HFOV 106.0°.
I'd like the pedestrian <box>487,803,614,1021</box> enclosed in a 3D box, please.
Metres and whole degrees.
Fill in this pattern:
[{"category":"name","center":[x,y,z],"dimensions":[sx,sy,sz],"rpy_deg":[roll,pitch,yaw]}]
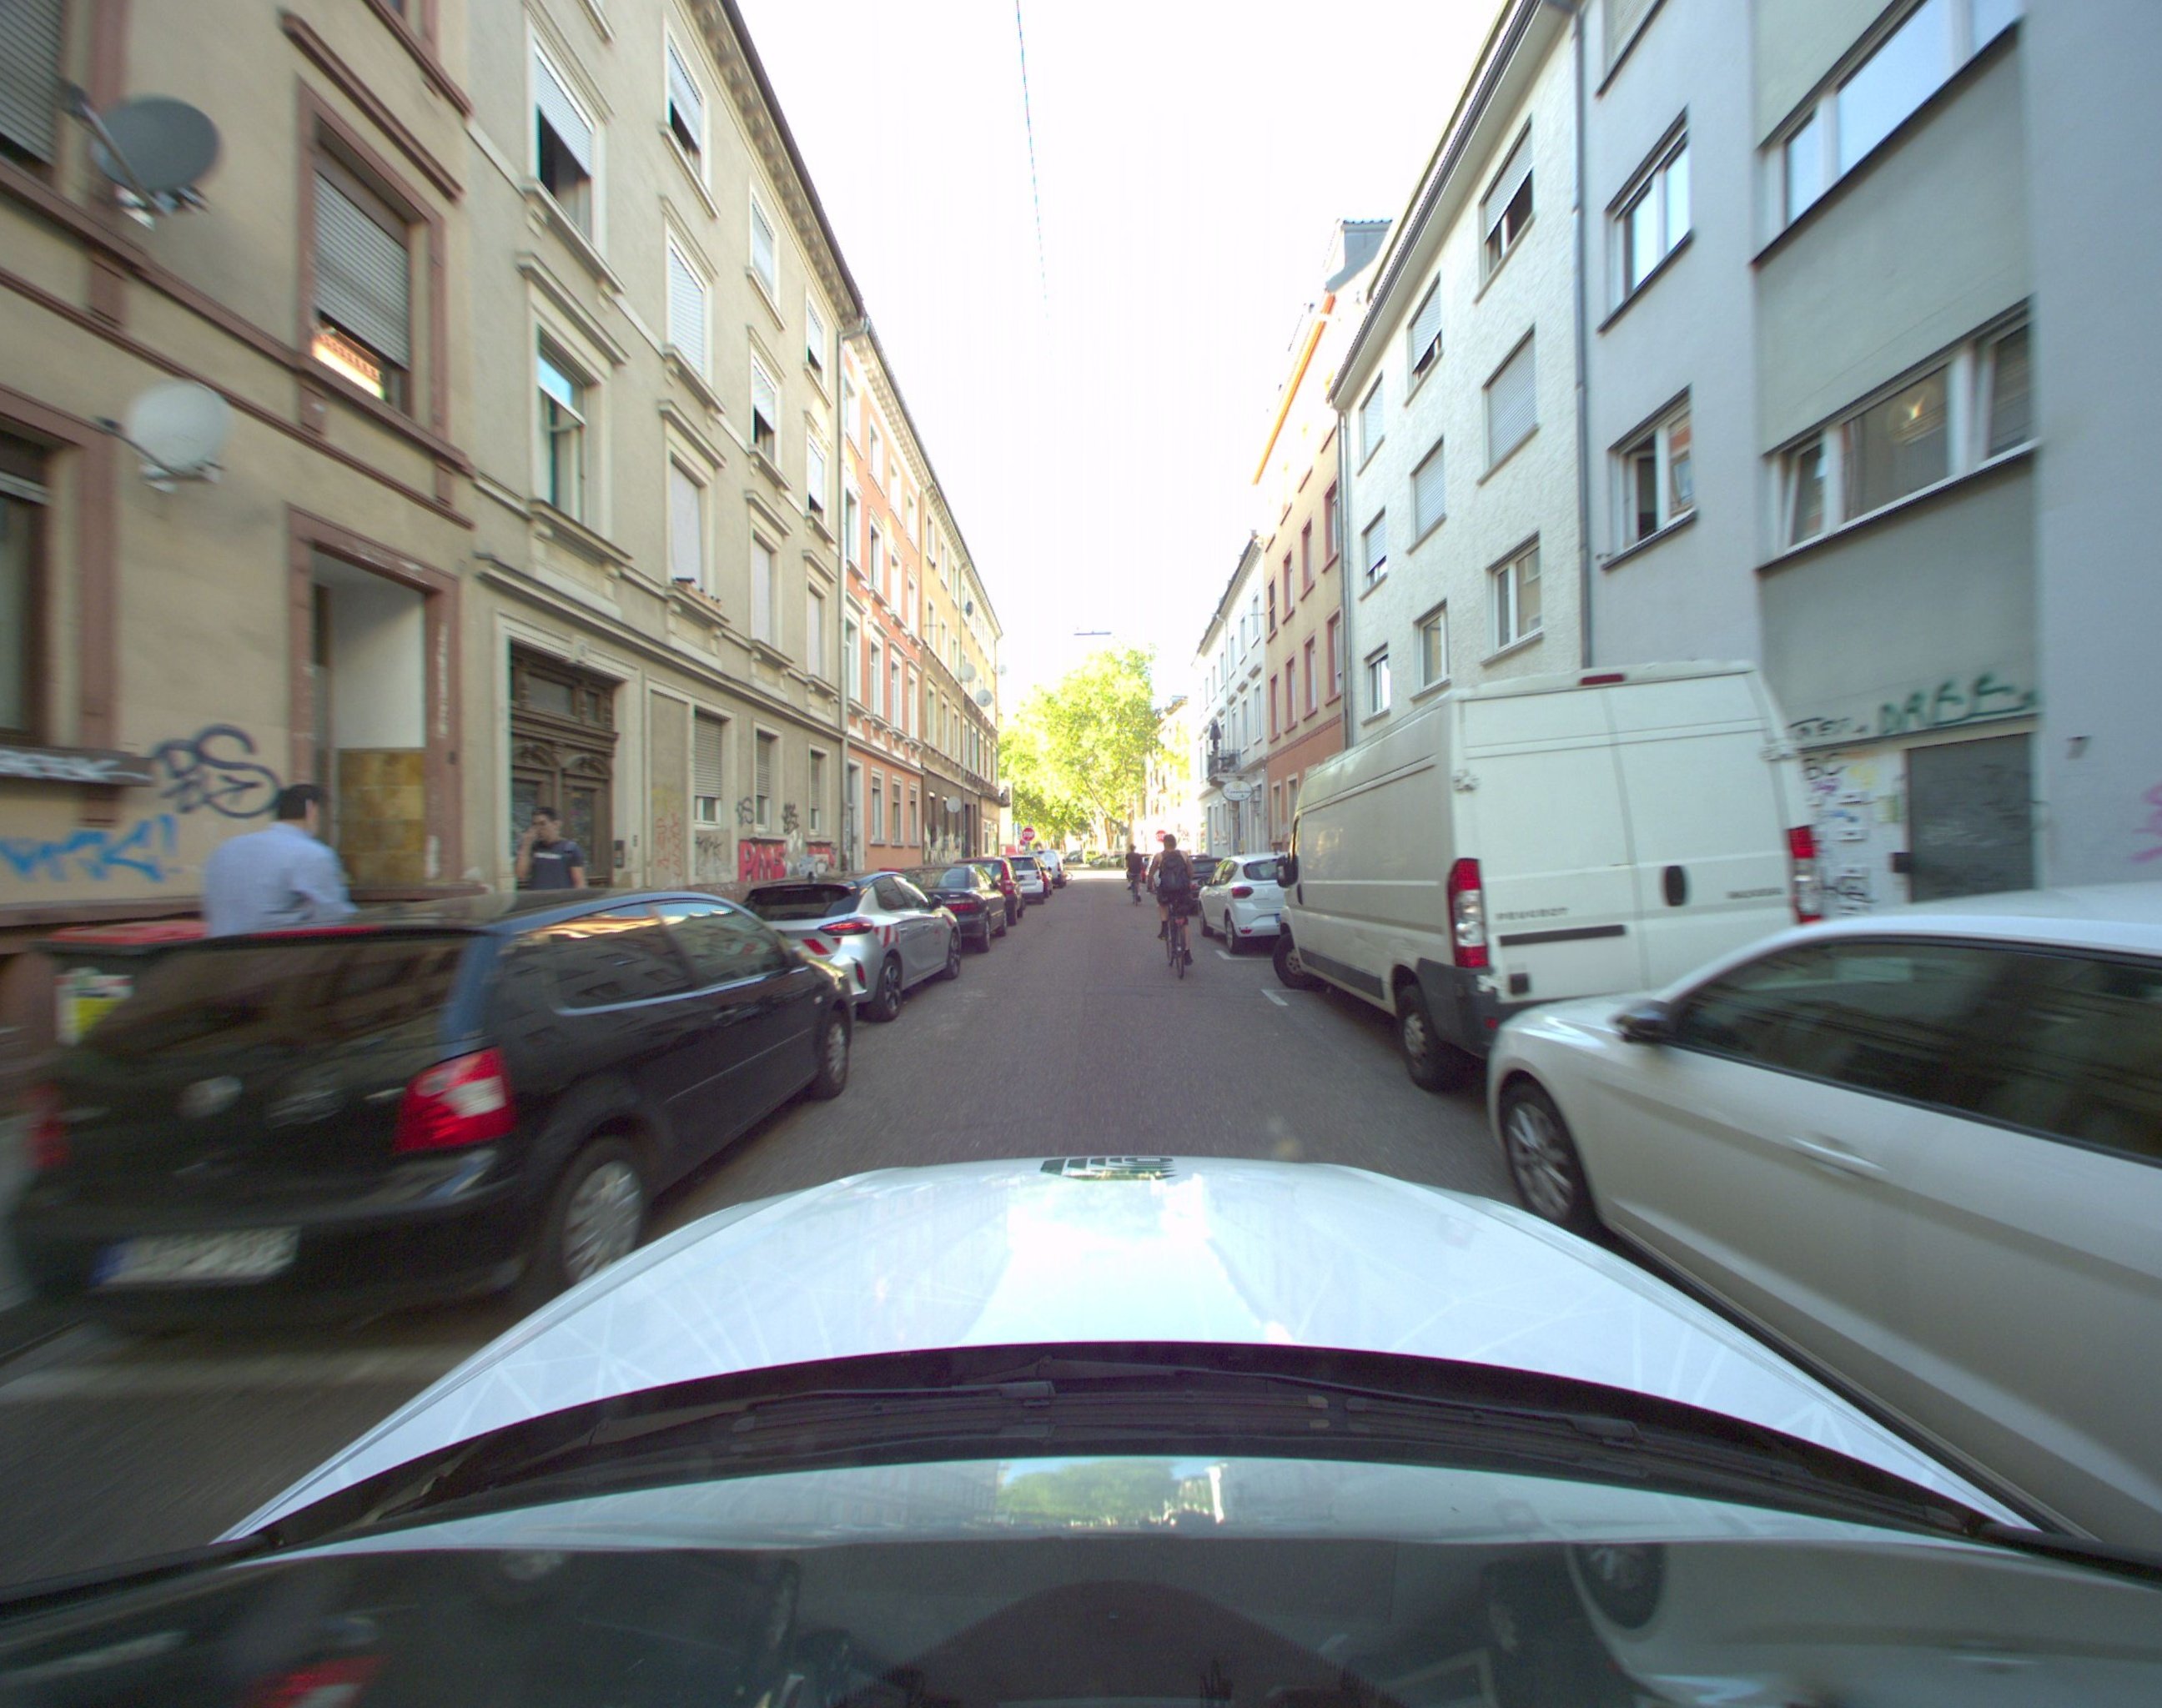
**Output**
[{"category":"pedestrian","center":[-4.777,0.498,7.378],"dimensions":[0.608,1.858,0.754],"rpy_deg":[1,0,1]}]

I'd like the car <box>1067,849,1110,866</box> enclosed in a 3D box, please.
[{"category":"car","center":[0.767,0.385,87.536],"dimensions":[4.459,1.696,1.864],"rpy_deg":[-2,0,-4]}]

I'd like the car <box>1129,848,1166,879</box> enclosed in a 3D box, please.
[{"category":"car","center":[4.068,0.579,50.272],"dimensions":[1.887,1.769,3.998],"rpy_deg":[-2,0,-1]}]

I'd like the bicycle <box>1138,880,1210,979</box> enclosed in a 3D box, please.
[{"category":"bicycle","center":[1.173,0.926,10.653],"dimensions":[0.737,1.100,2.042],"rpy_deg":[1,0,1]}]

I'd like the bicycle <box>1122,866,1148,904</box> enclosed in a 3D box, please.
[{"category":"bicycle","center":[1.582,0.892,24.231],"dimensions":[0.661,1.037,1.959],"rpy_deg":[-2,0,1]}]

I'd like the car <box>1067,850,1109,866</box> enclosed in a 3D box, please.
[{"category":"car","center":[0.782,0.417,89.845],"dimensions":[4.459,1.696,1.864],"rpy_deg":[-2,0,-4]}]

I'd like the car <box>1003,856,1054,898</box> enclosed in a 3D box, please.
[{"category":"car","center":[-1.890,0.802,30.262],"dimensions":[1.547,1.399,3.668],"rpy_deg":[-2,0,1]}]

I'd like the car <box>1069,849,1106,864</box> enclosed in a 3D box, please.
[{"category":"car","center":[0.803,0.317,102.991],"dimensions":[4.459,1.696,1.864],"rpy_deg":[-2,0,-4]}]

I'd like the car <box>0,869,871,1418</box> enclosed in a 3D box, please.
[{"category":"car","center":[-2.413,0.858,4.125],"dimensions":[1.586,1.440,3.655],"rpy_deg":[-2,0,2]}]

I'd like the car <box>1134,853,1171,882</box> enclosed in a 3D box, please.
[{"category":"car","center":[3.918,0.709,44.940],"dimensions":[1.681,1.471,3.574],"rpy_deg":[-2,0,0]}]

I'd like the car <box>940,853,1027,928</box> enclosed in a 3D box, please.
[{"category":"car","center":[-2.194,0.772,19.123],"dimensions":[1.600,1.530,3.378],"rpy_deg":[-2,0,0]}]

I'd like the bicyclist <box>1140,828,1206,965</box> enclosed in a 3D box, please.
[{"category":"bicyclist","center":[1.169,0.520,10.577],"dimensions":[0.737,1.679,1.117],"rpy_deg":[1,0,1]}]

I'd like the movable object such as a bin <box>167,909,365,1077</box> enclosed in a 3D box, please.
[{"category":"movable object such as a bin","center":[-5.441,0.905,5.471],"dimensions":[0.728,1.025,0.591],"rpy_deg":[0,0,1]}]

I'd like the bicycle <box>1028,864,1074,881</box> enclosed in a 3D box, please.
[{"category":"bicycle","center":[-1.771,1.090,48.305],"dimensions":[2.708,0.892,0.618],"rpy_deg":[-2,0,-2]}]

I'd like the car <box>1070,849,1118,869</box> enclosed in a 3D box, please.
[{"category":"car","center":[1.211,0.466,78.043],"dimensions":[4.459,1.759,1.864],"rpy_deg":[-2,0,-4]}]

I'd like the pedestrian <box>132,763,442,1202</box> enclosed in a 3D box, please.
[{"category":"pedestrian","center":[-3.606,0.531,3.773],"dimensions":[0.648,1.817,0.754],"rpy_deg":[1,0,2]}]

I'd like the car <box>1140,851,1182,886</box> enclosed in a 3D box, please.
[{"category":"car","center":[3.822,0.664,39.364],"dimensions":[1.647,1.530,3.574],"rpy_deg":[-2,0,0]}]

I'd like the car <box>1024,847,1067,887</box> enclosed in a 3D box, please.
[{"category":"car","center":[-1.645,0.584,38.700],"dimensions":[1.781,1.737,3.876],"rpy_deg":[-2,0,1]}]

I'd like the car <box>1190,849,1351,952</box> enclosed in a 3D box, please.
[{"category":"car","center":[3.068,0.678,14.004],"dimensions":[1.726,1.470,4.019],"rpy_deg":[-2,0,-1]}]

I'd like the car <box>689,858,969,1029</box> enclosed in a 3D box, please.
[{"category":"car","center":[-2.493,0.801,9.104],"dimensions":[1.666,1.430,3.892],"rpy_deg":[-2,0,3]}]

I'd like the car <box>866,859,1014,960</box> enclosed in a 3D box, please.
[{"category":"car","center":[-2.254,0.834,14.162],"dimensions":[1.700,1.414,4.303],"rpy_deg":[-2,0,1]}]

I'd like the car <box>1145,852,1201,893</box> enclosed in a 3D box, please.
[{"category":"car","center":[3.575,0.687,32.258],"dimensions":[1.705,1.470,3.999],"rpy_deg":[-2,0,0]}]

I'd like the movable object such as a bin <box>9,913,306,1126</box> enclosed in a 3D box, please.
[{"category":"movable object such as a bin","center":[-5.259,0.902,4.694],"dimensions":[0.786,1.025,0.757],"rpy_deg":[3,0,3]}]

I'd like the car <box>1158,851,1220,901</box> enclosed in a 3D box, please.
[{"category":"car","center":[3.477,0.676,26.800],"dimensions":[1.586,1.492,3.877],"rpy_deg":[-2,0,2]}]

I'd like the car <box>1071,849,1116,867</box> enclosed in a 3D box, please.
[{"category":"car","center":[1.224,0.385,83.034],"dimensions":[4.459,1.696,1.864],"rpy_deg":[-2,0,-4]}]

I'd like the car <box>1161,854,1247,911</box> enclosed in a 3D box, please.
[{"category":"car","center":[3.182,0.701,21.822],"dimensions":[1.652,1.338,3.999],"rpy_deg":[-2,0,0]}]

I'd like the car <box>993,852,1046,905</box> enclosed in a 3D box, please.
[{"category":"car","center":[-1.944,0.740,26.497],"dimensions":[1.540,1.550,3.463],"rpy_deg":[-2,0,-2]}]

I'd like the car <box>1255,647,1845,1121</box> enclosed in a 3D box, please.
[{"category":"car","center":[3.203,0.167,7.487],"dimensions":[2.195,2.550,6.041],"rpy_deg":[-2,0,3]}]

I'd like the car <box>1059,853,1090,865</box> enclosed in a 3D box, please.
[{"category":"car","center":[-0.967,0.736,119.037],"dimensions":[4.459,1.696,1.864],"rpy_deg":[-2,0,-4]}]

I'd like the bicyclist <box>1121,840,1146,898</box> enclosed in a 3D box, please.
[{"category":"bicyclist","center":[1.550,0.439,24.242],"dimensions":[0.667,1.658,0.877],"rpy_deg":[-2,0,1]}]

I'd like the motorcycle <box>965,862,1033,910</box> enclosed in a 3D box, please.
[{"category":"motorcycle","center":[-2.299,0.884,22.749],"dimensions":[1.797,1.256,0.707],"rpy_deg":[-2,0,-13]}]

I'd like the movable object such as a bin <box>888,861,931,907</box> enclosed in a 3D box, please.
[{"category":"movable object such as a bin","center":[-4.579,0.784,21.783],"dimensions":[0.831,1.126,0.716],"rpy_deg":[-6,0,3]}]

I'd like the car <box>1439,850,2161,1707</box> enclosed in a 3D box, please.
[{"category":"car","center":[2.636,0.725,2.102],"dimensions":[1.719,1.429,3.832],"rpy_deg":[-2,0,0]}]

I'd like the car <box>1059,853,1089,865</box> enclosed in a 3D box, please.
[{"category":"car","center":[-1.107,0.724,125.745],"dimensions":[4.459,1.696,1.864],"rpy_deg":[-2,0,-4]}]
